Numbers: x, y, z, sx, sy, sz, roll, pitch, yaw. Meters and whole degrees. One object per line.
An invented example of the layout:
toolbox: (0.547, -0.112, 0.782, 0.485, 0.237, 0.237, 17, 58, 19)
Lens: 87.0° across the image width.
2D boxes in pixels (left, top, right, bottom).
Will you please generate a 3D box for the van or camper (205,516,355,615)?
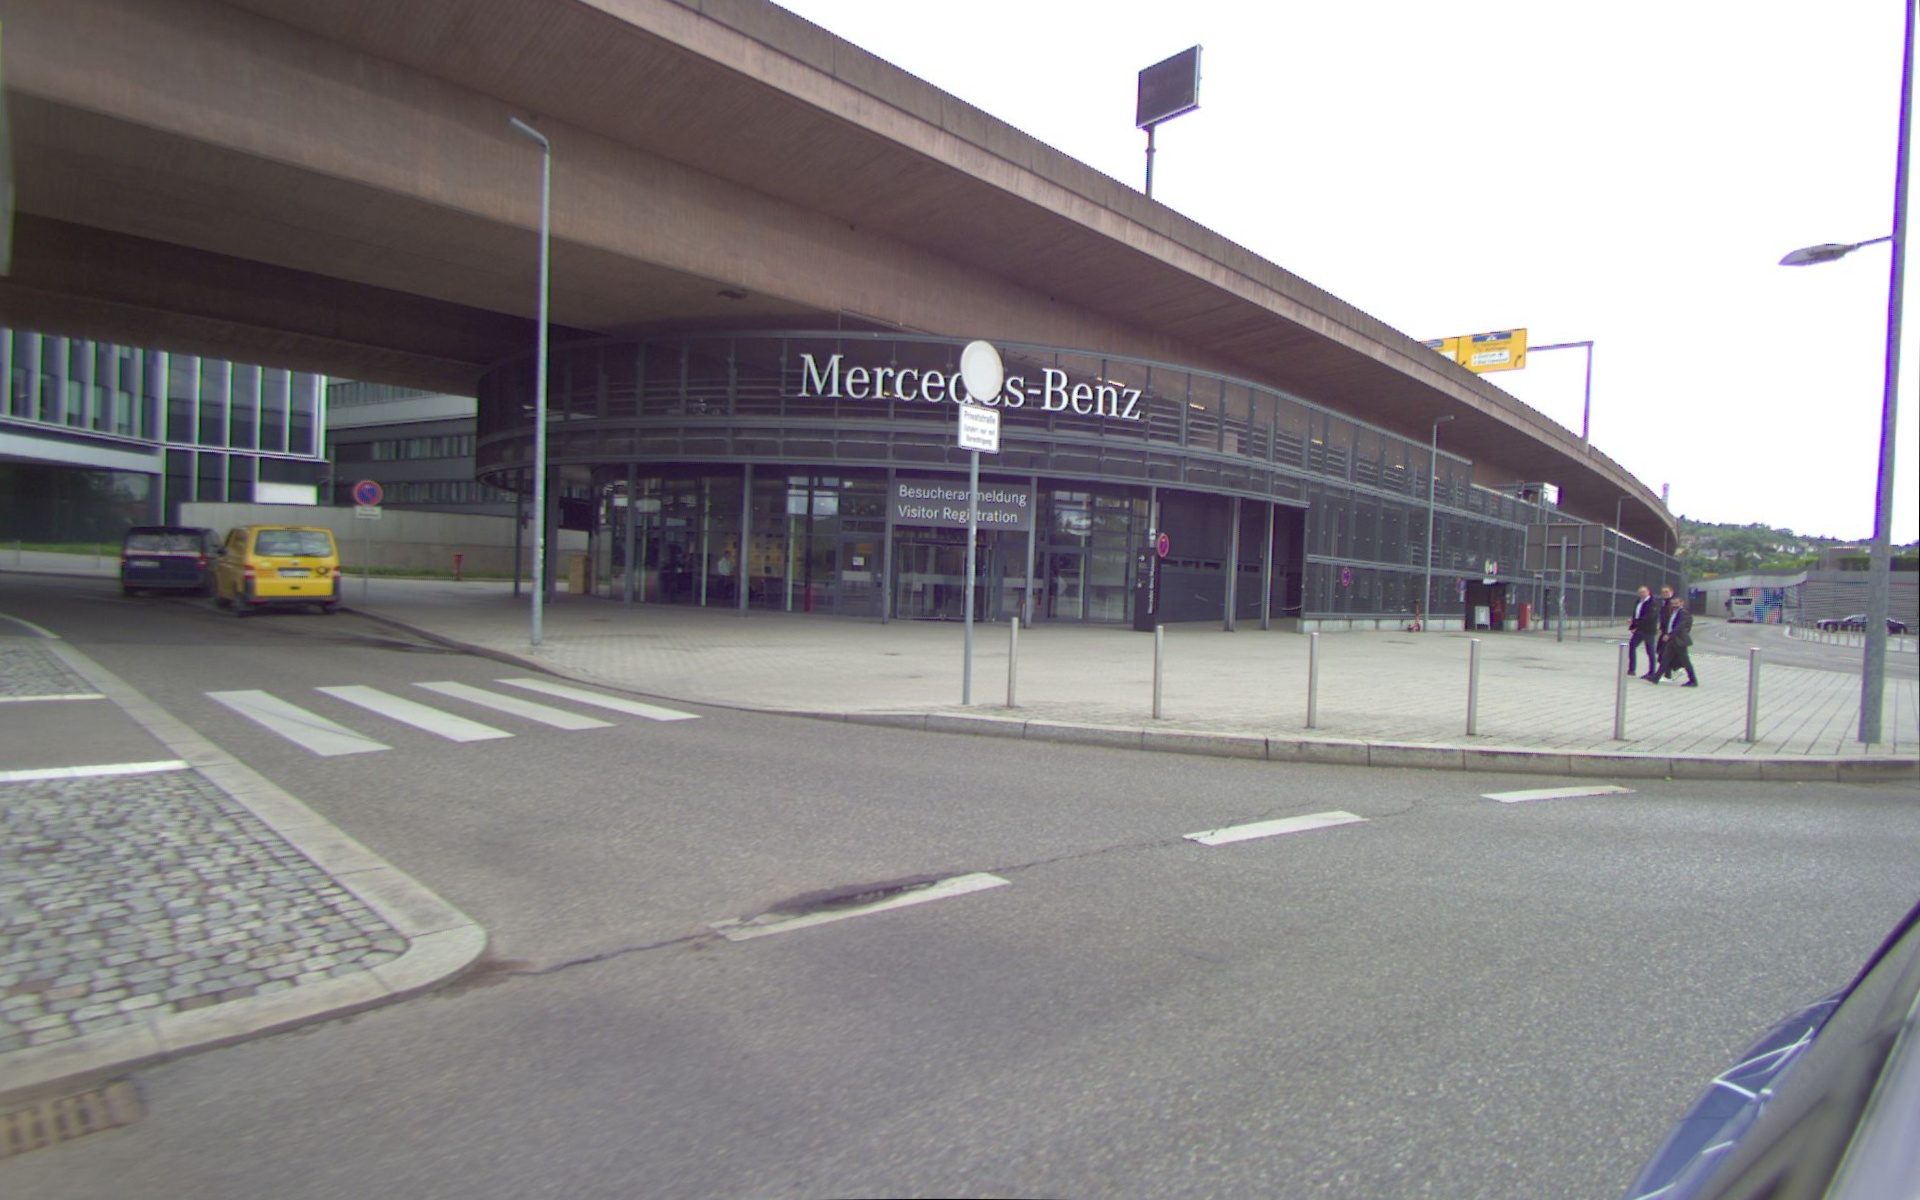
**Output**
van or camper: (-15.553, -0.834, 23.027, 2.321, 2.023, 4.500, 0, 3, -41)

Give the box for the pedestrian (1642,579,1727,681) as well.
pedestrian: (12.843, 0.518, 17.957, 0.757, 1.726, 0.866, 3, 1, -4)

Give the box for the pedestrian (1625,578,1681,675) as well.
pedestrian: (13.613, 0.507, 19.909, 0.778, 1.820, 0.855, 4, 1, 33)

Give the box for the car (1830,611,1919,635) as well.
car: (69.036, 1.745, 76.483, 4.890, 1.415, 1.512, 4, 1, 42)

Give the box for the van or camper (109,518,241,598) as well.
van or camper: (-21.422, -1.161, 27.839, 2.110, 1.916, 4.909, 3, 1, -30)

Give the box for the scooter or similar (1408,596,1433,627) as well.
scooter or similar: (17.403, 0.451, 38.234, 0.380, 1.137, 1.405, 4, 1, 44)

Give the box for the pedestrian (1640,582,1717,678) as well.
pedestrian: (13.451, 0.548, 18.957, 0.758, 1.726, 0.787, 3, 1, -2)

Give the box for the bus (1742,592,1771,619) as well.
bus: (110.555, 0.785, 140.511, 2.917, 3.484, 6.871, 4, 1, 38)
